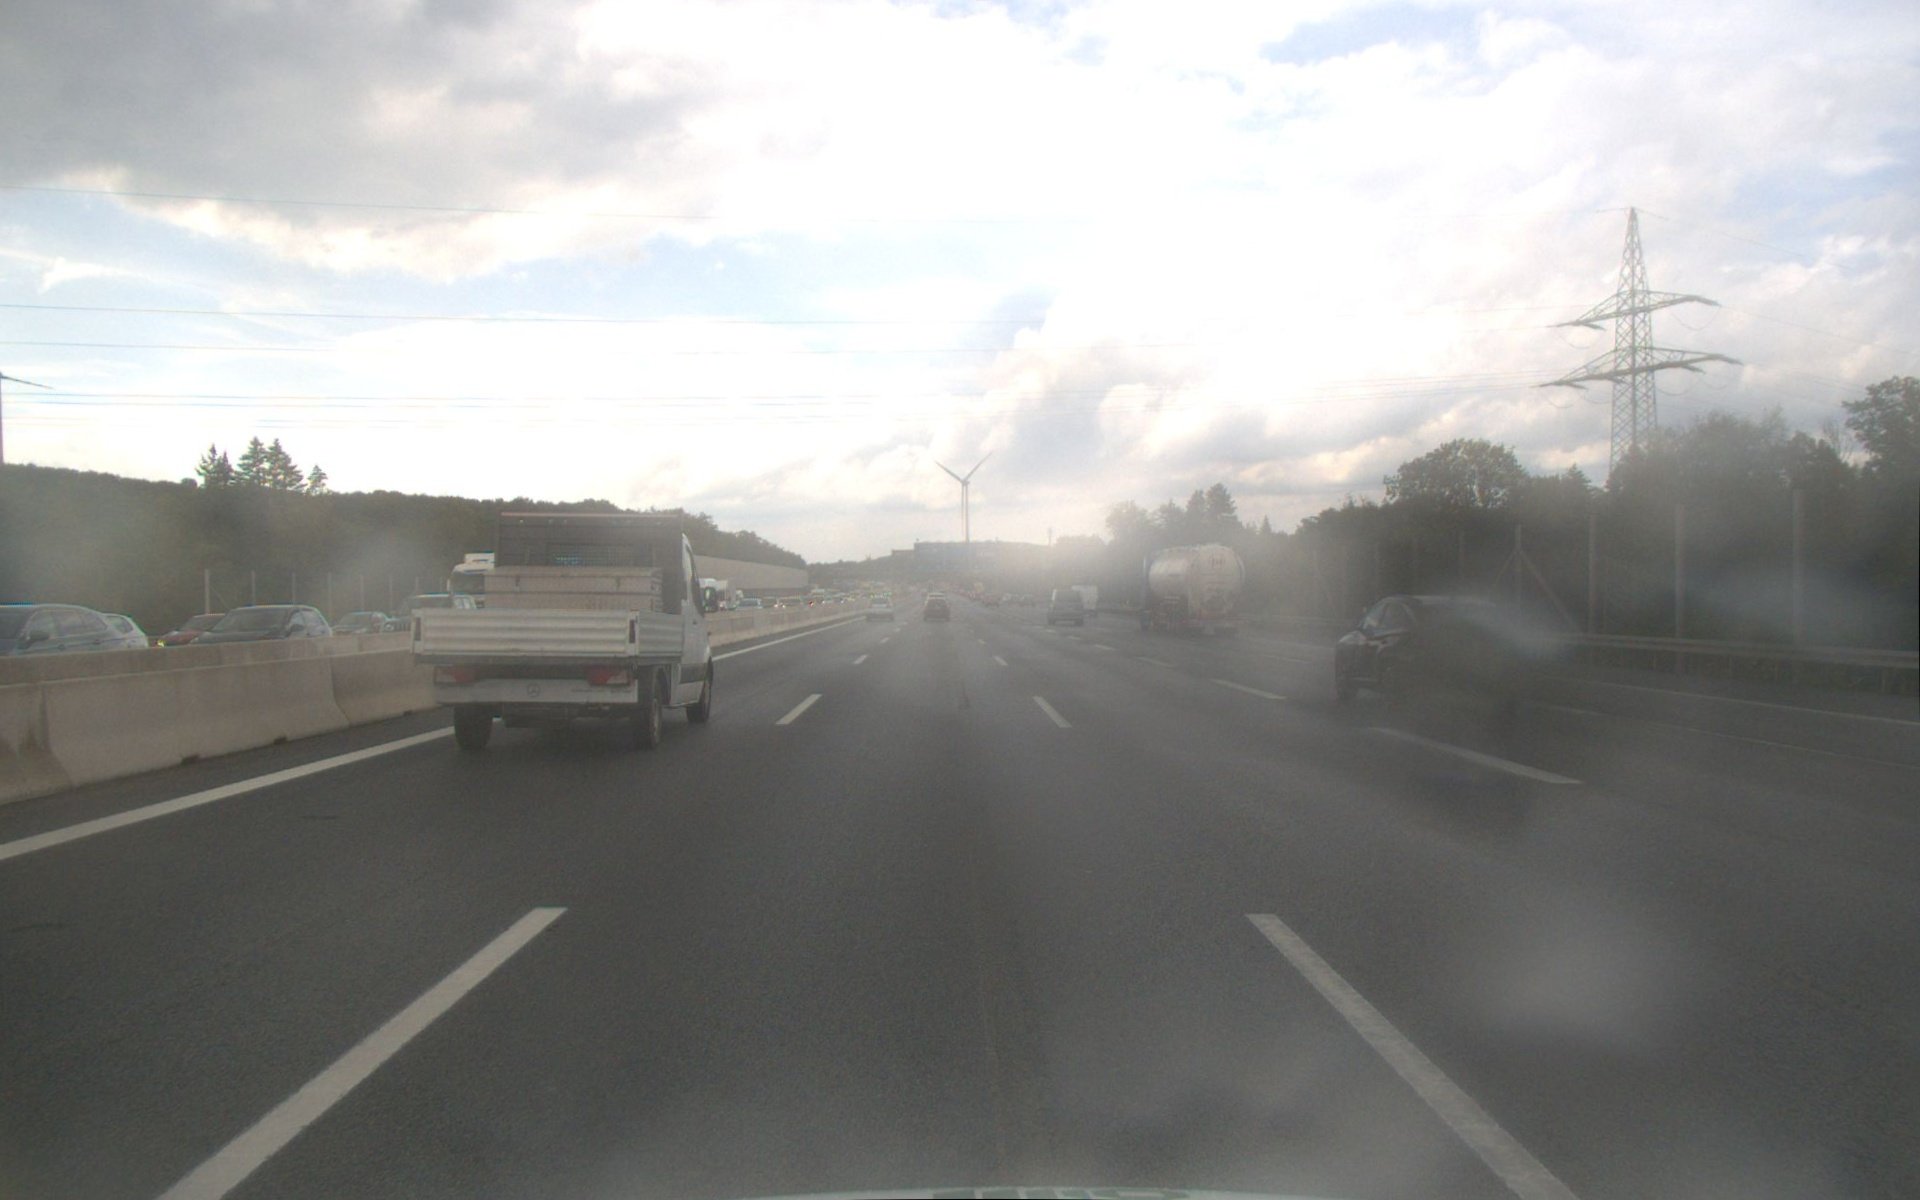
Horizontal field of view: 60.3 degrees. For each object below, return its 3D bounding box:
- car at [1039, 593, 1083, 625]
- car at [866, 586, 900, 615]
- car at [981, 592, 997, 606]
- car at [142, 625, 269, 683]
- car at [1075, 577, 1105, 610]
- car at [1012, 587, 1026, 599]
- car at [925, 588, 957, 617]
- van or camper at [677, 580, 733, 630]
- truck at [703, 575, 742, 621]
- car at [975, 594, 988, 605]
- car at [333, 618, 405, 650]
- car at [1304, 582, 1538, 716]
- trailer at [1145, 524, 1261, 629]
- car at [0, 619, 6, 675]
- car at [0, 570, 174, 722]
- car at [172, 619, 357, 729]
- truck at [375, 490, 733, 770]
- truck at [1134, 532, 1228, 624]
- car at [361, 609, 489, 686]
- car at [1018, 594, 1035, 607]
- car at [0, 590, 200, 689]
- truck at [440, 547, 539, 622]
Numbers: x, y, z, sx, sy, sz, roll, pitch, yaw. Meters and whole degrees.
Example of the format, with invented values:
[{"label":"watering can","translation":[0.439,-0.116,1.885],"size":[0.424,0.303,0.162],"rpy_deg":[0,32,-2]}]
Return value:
[{"label":"car","translation":[5.828,0.500,95.645],"size":[2.056,1.729,3.997],"rpy_deg":[0,1,-4]},{"label":"car","translation":[-4.802,0.030,103.490],"size":[2.003,1.729,3.999],"rpy_deg":[0,1,-1]},{"label":"car","translation":[3.750,-0.162,217.268],"size":[2.003,1.729,4.000],"rpy_deg":[0,1,0]},{"label":"car","translation":[-21.893,1.542,48.186],"size":[1.832,1.482,4.140],"rpy_deg":[1,1,-1]},{"label":"car","translation":[10.442,-0.539,133.365],"size":[2.003,2.541,3.999],"rpy_deg":[0,1,-1]},{"label":"car","translation":[9.141,-1.091,256.441],"size":[2.003,1.729,4.000],"rpy_deg":[0,1,0]},{"label":"car","translation":[-1.187,0.141,105.930],"size":[2.003,1.729,4.000],"rpy_deg":[0,1,0]},{"label":"van or camper","translation":[-14.612,0.247,95.240],"size":[2.134,2.752,7.519],"rpy_deg":[0,0,-1]},{"label":"truck","translation":[-19.202,-0.158,133.846],"size":[2.139,3.580,7.490],"rpy_deg":[0,0,-1]},{"label":"car","translation":[3.310,-0.068,255.418],"size":[1.830,1.758,3.999],"rpy_deg":[1,0,-1]},{"label":"car","translation":[-25.480,1.451,71.425],"size":[1.613,1.229,4.361],"rpy_deg":[0,0,-1]},{"label":"car","translation":[6.684,0.624,24.631],"size":[2.003,1.729,5.006],"rpy_deg":[1,1,-1]},{"label":"trailer","translation":[10.599,-1.007,73.575],"size":[3.265,4.248,11.836],"rpy_deg":[1,1,-1]},{"label":"car","translation":[-26.168,1.247,41.577],"size":[2.073,1.477,3.999],"rpy_deg":[1,1,-1]},{"label":"car","translation":[-13.568,0.564,23.788],"size":[2.073,1.971,5.214],"rpy_deg":[1,1,-1]},{"label":"car","translation":[-13.936,1.433,33.398],"size":[2.073,1.971,3.999],"rpy_deg":[1,1,-1]},{"label":"truck","translation":[-4.108,0.217,18.374],"size":[2.305,2.450,7.356],"rpy_deg":[1,1,-2]},{"label":"truck","translation":[10.513,-1.055,79.468],"size":[3.265,4.151,8.270],"rpy_deg":[1,1,-1]},{"label":"car","translation":[-13.801,1.185,42.956],"size":[1.832,1.790,4.705],"rpy_deg":[1,1,-1]},{"label":"car","translation":[8.812,0.062,218.782],"size":[1.953,1.780,4.496],"rpy_deg":[1,0,-1]},{"label":"car","translation":[-18.408,0.783,35.601],"size":[2.073,1.971,4.425],"rpy_deg":[1,1,-1]},{"label":"truck","translation":[-22.775,-0.749,80.337],"size":[2.982,3.465,6.527],"rpy_deg":[1,1,-1]}]
